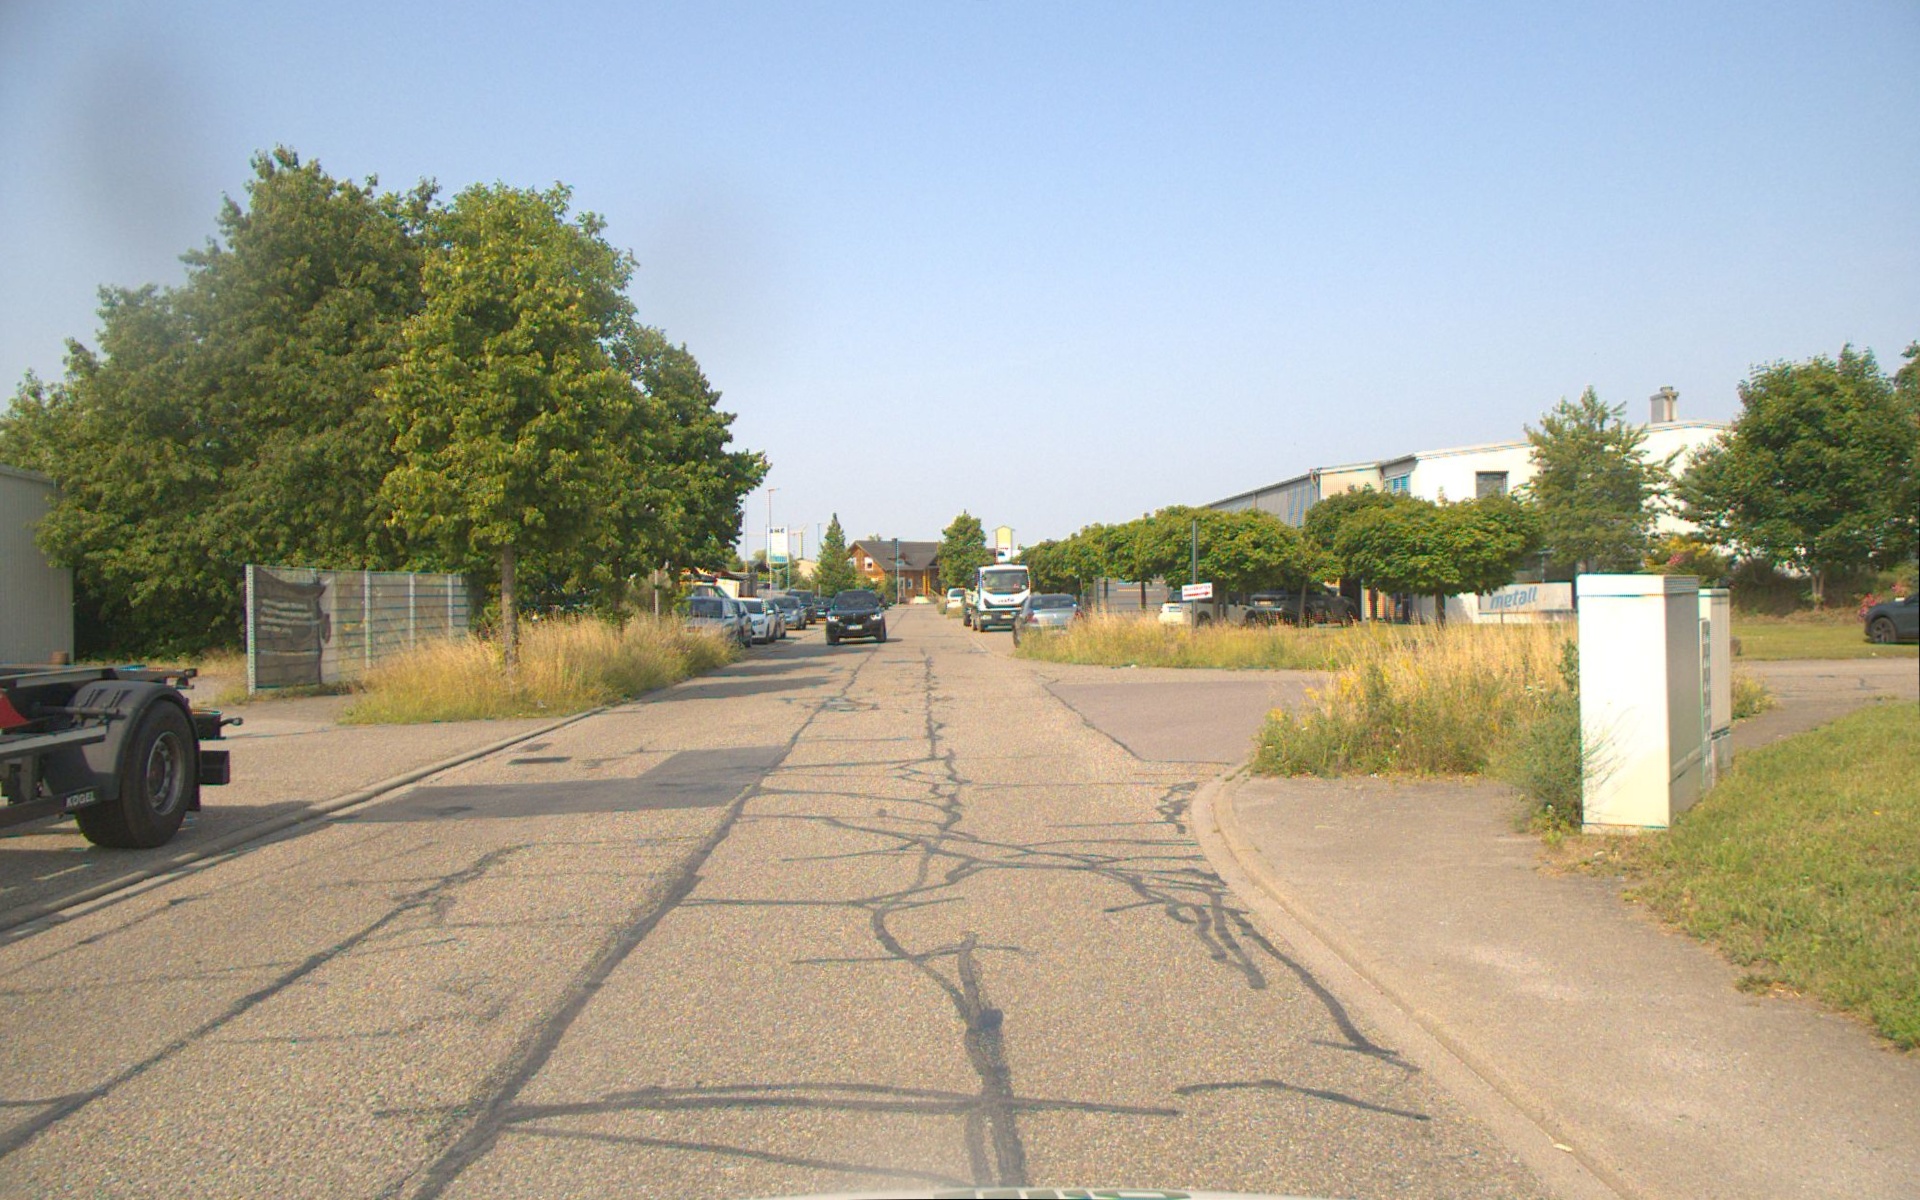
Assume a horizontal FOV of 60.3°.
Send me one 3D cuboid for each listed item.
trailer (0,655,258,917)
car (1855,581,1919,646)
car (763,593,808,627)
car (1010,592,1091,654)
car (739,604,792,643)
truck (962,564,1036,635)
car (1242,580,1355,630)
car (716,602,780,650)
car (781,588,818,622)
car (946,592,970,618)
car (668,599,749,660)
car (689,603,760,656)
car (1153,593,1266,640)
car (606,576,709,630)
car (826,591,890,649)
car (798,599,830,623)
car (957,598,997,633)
[{"bbox_3d":[-6.101,0.994,6.986,2.530,1.205,9.359,1,0,-2],"label":"trailer"},{"bbox_3d":[22.515,0.285,37.021,1.754,1.434,4.323,-1,0,-19],"label":"car"},{"bbox_3d":[-8.072,0.451,76.763,1.599,1.544,3.606,1,0,1],"label":"car"},{"bbox_3d":[2.380,0.589,44.398,1.758,1.544,4.422,-1,0,-2],"label":"car"},{"bbox_3d":[-7.284,0.865,62.258,1.600,1.411,4.368,1,0,-2],"label":"car"},{"bbox_3d":[1.521,-0.005,68.111,2.313,2.728,6.504,-1,0,-5],"label":"truck"},{"bbox_3d":[11.643,0.156,56.706,1.659,1.616,4.503,-1,0,44],"label":"car"},{"bbox_3d":[-6.955,0.821,54.694,1.649,1.495,4.252,1,0,-1],"label":"car"},{"bbox_3d":[-8.794,0.245,90.861,1.763,1.805,4.201,1,0,-2],"label":"car"},{"bbox_3d":[-0.180,0.356,130.204,1.800,1.957,3.755,-2,0,-1],"label":"car"},{"bbox_3d":[-6.761,0.775,44.696,1.534,1.565,3.688,1,0,1],"label":"car"},{"bbox_3d":[-6.967,0.846,49.261,1.546,1.469,3.963,1,0,0],"label":"car"},{"bbox_3d":[8.044,0.515,53.191,3.665,1.404,1.662,-2,0,-42],"label":"car"},{"bbox_3d":[-14.509,0.124,79.439,4.531,2.459,2.000,-1,0,0],"label":"car"},{"bbox_3d":[-3.260,0.622,53.585,1.818,1.744,4.226,-2,0,-1],"label":"car"},{"bbox_3d":[-9.121,0.662,103.308,1.763,1.411,3.636,1,0,-2],"label":"car"},{"bbox_3d":[0.781,0.700,79.026,1.758,1.588,3.999,-1,0,-1],"label":"car"}]
